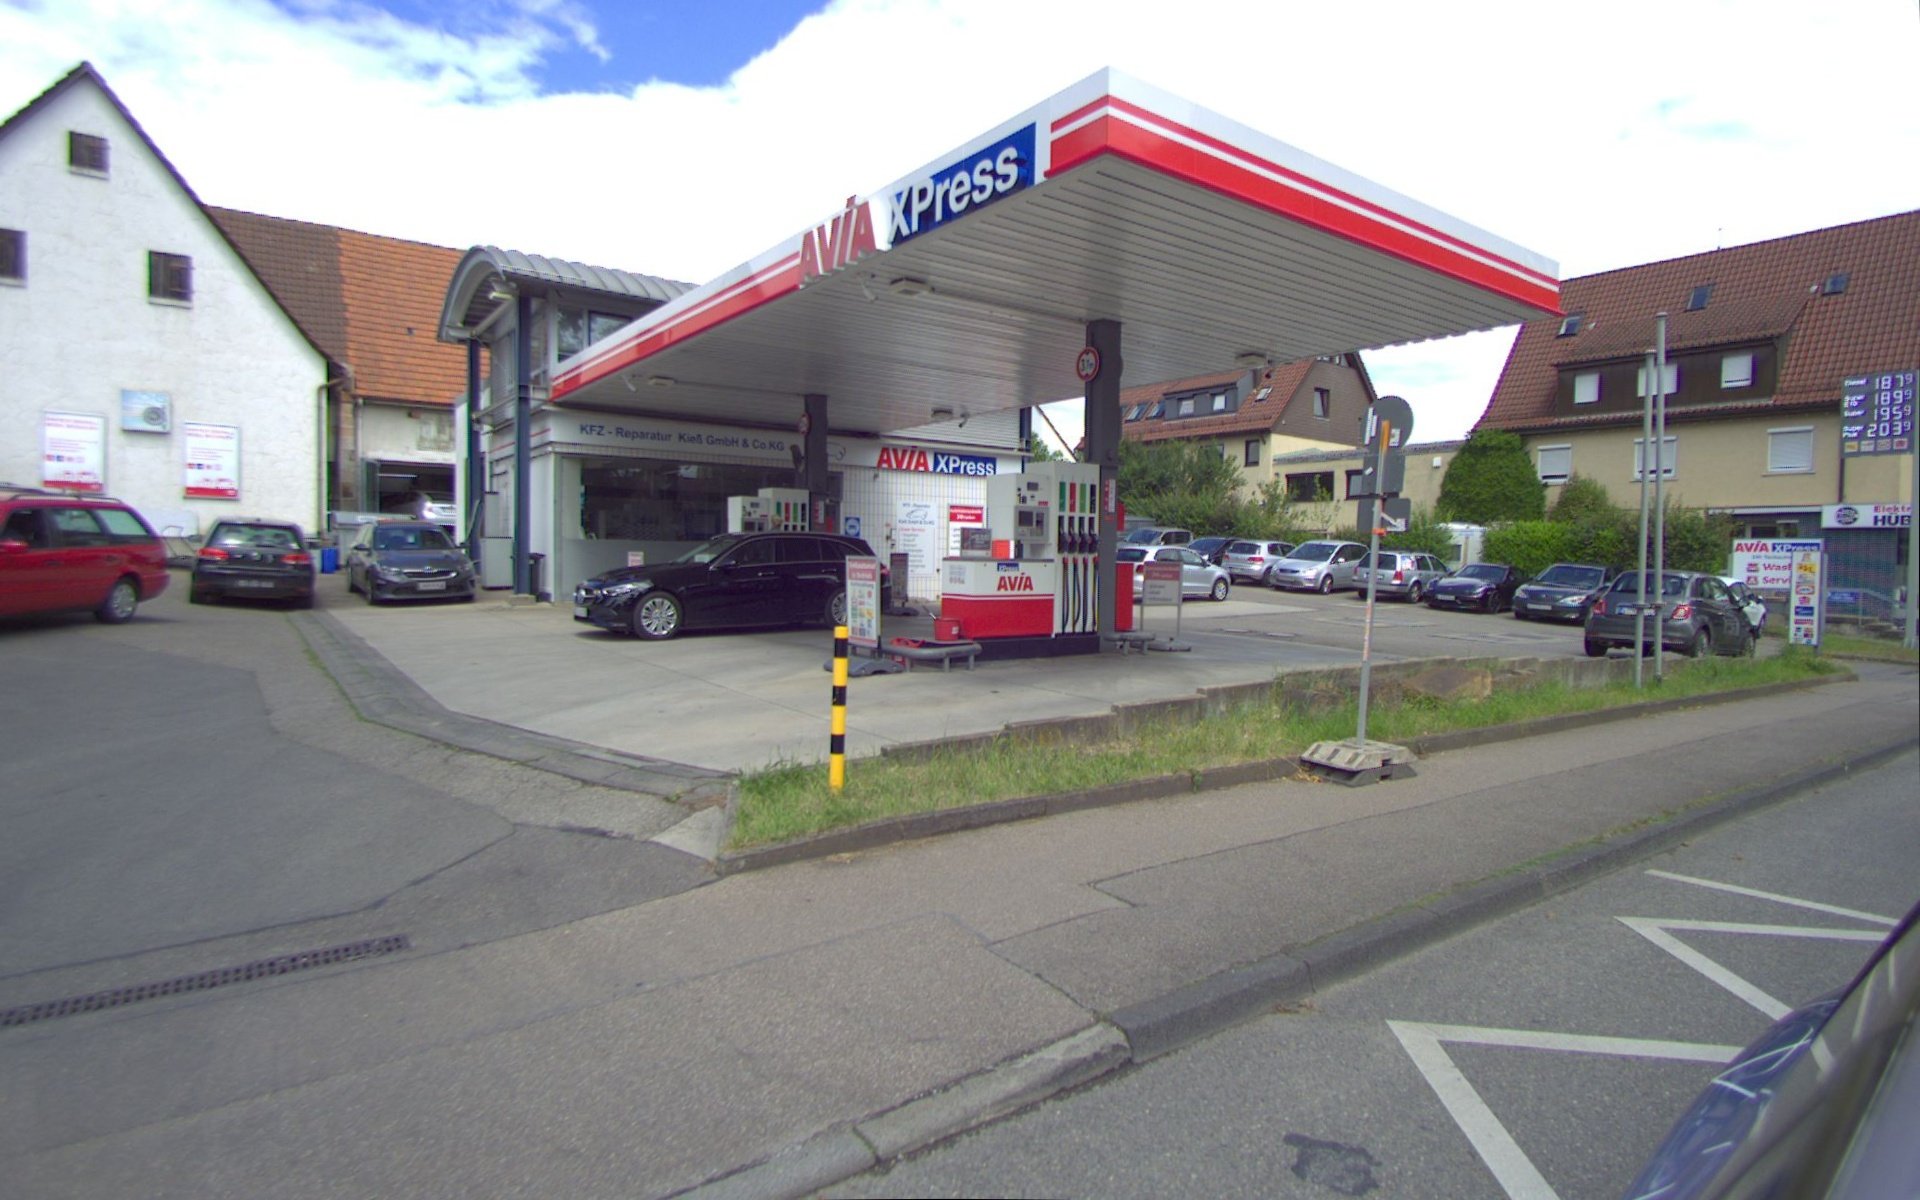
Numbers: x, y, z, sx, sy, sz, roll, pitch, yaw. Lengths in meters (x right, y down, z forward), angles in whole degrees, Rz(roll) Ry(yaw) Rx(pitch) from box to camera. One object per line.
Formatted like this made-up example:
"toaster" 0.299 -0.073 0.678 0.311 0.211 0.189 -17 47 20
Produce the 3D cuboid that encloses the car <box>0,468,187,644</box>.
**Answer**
"car" -10.497 -0.548 10.568 1.788 1.737 4.618 6 2 -10

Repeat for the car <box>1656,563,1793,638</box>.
"car" 18.456 -0.061 24.367 4.130 1.546 1.639 -2 7 -40

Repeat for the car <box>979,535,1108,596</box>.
"car" 2.243 -1.023 28.095 1.590 1.477 3.759 -3 6 -33

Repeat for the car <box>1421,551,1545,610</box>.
"car" 14.390 -0.573 27.781 3.681 1.388 1.641 -2 7 -40

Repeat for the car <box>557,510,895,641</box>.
"car" -3.267 -0.379 14.604 4.485 1.628 1.635 -1 2 -36

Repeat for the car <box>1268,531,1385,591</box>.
"car" 11.612 -1.234 31.951 3.977 1.702 1.572 -2 7 -40

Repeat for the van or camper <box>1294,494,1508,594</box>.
"van or camper" 14.731 -1.963 34.227 2.487 2.883 5.978 0 6 -40

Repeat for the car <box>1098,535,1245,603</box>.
"car" 5.505 -0.863 26.276 3.678 1.518 1.637 -4 8 -35

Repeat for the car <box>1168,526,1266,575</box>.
"car" 9.150 -1.771 36.003 3.437 1.587 1.572 -2 7 -40

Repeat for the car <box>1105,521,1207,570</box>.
"car" 7.331 -2.028 37.708 3.882 1.650 1.572 -2 7 -40

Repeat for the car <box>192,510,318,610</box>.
"car" -12.482 -0.762 18.007 1.589 1.458 3.759 5 2 -34

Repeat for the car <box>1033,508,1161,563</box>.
"car" 5.383 -2.485 39.421 5.046 1.940 1.924 -2 7 -40

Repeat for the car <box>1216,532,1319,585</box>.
"car" 10.244 -1.397 33.662 3.437 1.587 1.572 -2 7 -40

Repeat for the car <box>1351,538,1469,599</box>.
"car" 13.392 -0.956 30.061 3.681 1.603 1.642 -2 7 -40

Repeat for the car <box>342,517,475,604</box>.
"car" -10.716 -0.841 19.553 1.684 1.477 3.755 -4 6 -37

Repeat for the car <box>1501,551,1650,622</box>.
"car" 15.836 -0.401 25.943 4.573 1.560 1.718 -1 7 -39

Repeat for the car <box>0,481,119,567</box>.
"car" -19.119 -1.563 21.165 1.661 1.582 4.004 3 1 -30

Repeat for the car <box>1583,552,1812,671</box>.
"car" 12.333 0.139 16.858 4.079 1.613 1.623 0 8 -34

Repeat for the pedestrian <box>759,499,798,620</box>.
"pedestrian" -2.983 -0.664 16.649 0.530 1.959 0.587 0 1 0
